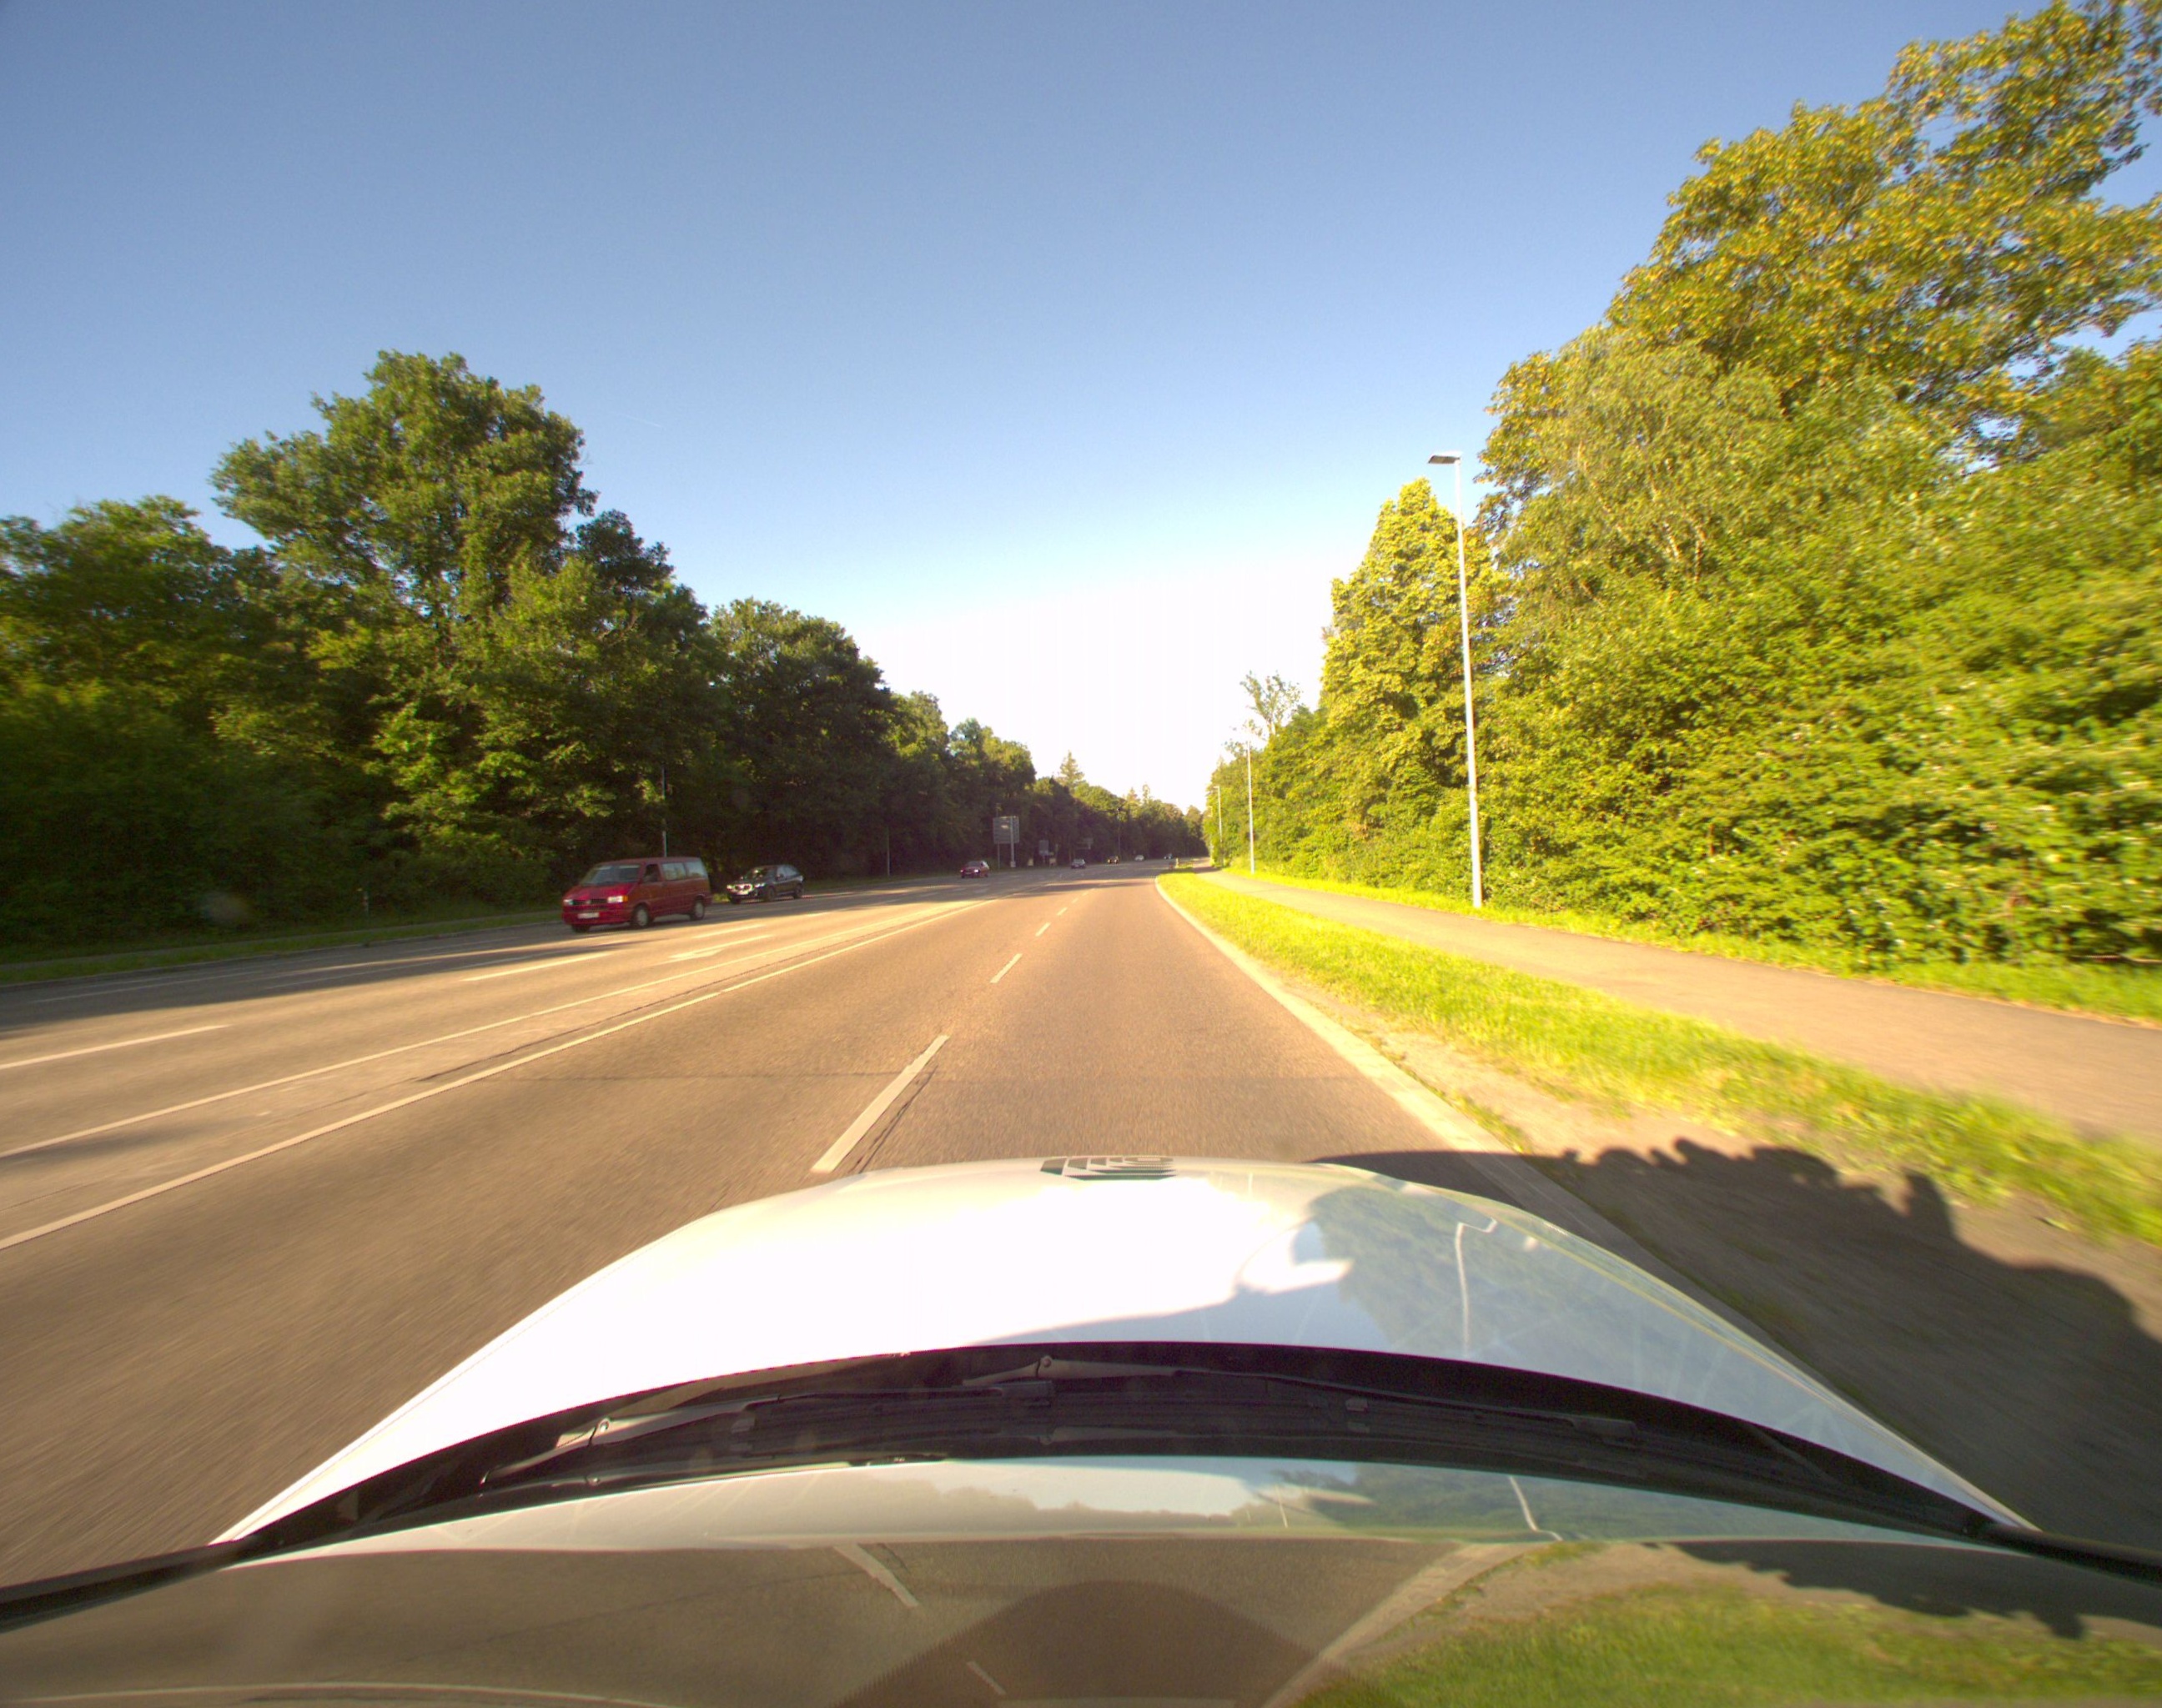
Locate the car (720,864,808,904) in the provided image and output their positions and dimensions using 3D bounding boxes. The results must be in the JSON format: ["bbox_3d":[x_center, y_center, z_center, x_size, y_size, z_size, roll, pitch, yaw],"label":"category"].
[{"bbox_3d":[-14.601,1.318,37.887,1.986,1.637,4.846,-2,0,2],"label":"car"}]

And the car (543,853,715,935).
[{"bbox_3d":[-12.454,1.029,22.871,1.986,1.962,4.650,-3,-1,2],"label":"car"}]

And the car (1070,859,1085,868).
[{"bbox_3d":[-0.517,1.341,114.027,1.736,1.234,4.678,-2,0,4],"label":"car"}]

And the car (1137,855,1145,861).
[{"bbox_3d":[15.229,1.092,206.524,1.814,1.504,4.317,-1,0,9],"label":"car"}]

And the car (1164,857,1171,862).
[{"bbox_3d":[27.569,1.642,258.775,1.814,1.589,4.362,-1,0,9],"label":"car"}]

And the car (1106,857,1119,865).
[{"bbox_3d":[6.453,1.492,166.694,1.813,1.545,4.269,-2,0,11],"label":"car"}]

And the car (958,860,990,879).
[{"bbox_3d":[-9.499,1.326,72.527,1.985,1.564,4.343,-2,0,4],"label":"car"}]
